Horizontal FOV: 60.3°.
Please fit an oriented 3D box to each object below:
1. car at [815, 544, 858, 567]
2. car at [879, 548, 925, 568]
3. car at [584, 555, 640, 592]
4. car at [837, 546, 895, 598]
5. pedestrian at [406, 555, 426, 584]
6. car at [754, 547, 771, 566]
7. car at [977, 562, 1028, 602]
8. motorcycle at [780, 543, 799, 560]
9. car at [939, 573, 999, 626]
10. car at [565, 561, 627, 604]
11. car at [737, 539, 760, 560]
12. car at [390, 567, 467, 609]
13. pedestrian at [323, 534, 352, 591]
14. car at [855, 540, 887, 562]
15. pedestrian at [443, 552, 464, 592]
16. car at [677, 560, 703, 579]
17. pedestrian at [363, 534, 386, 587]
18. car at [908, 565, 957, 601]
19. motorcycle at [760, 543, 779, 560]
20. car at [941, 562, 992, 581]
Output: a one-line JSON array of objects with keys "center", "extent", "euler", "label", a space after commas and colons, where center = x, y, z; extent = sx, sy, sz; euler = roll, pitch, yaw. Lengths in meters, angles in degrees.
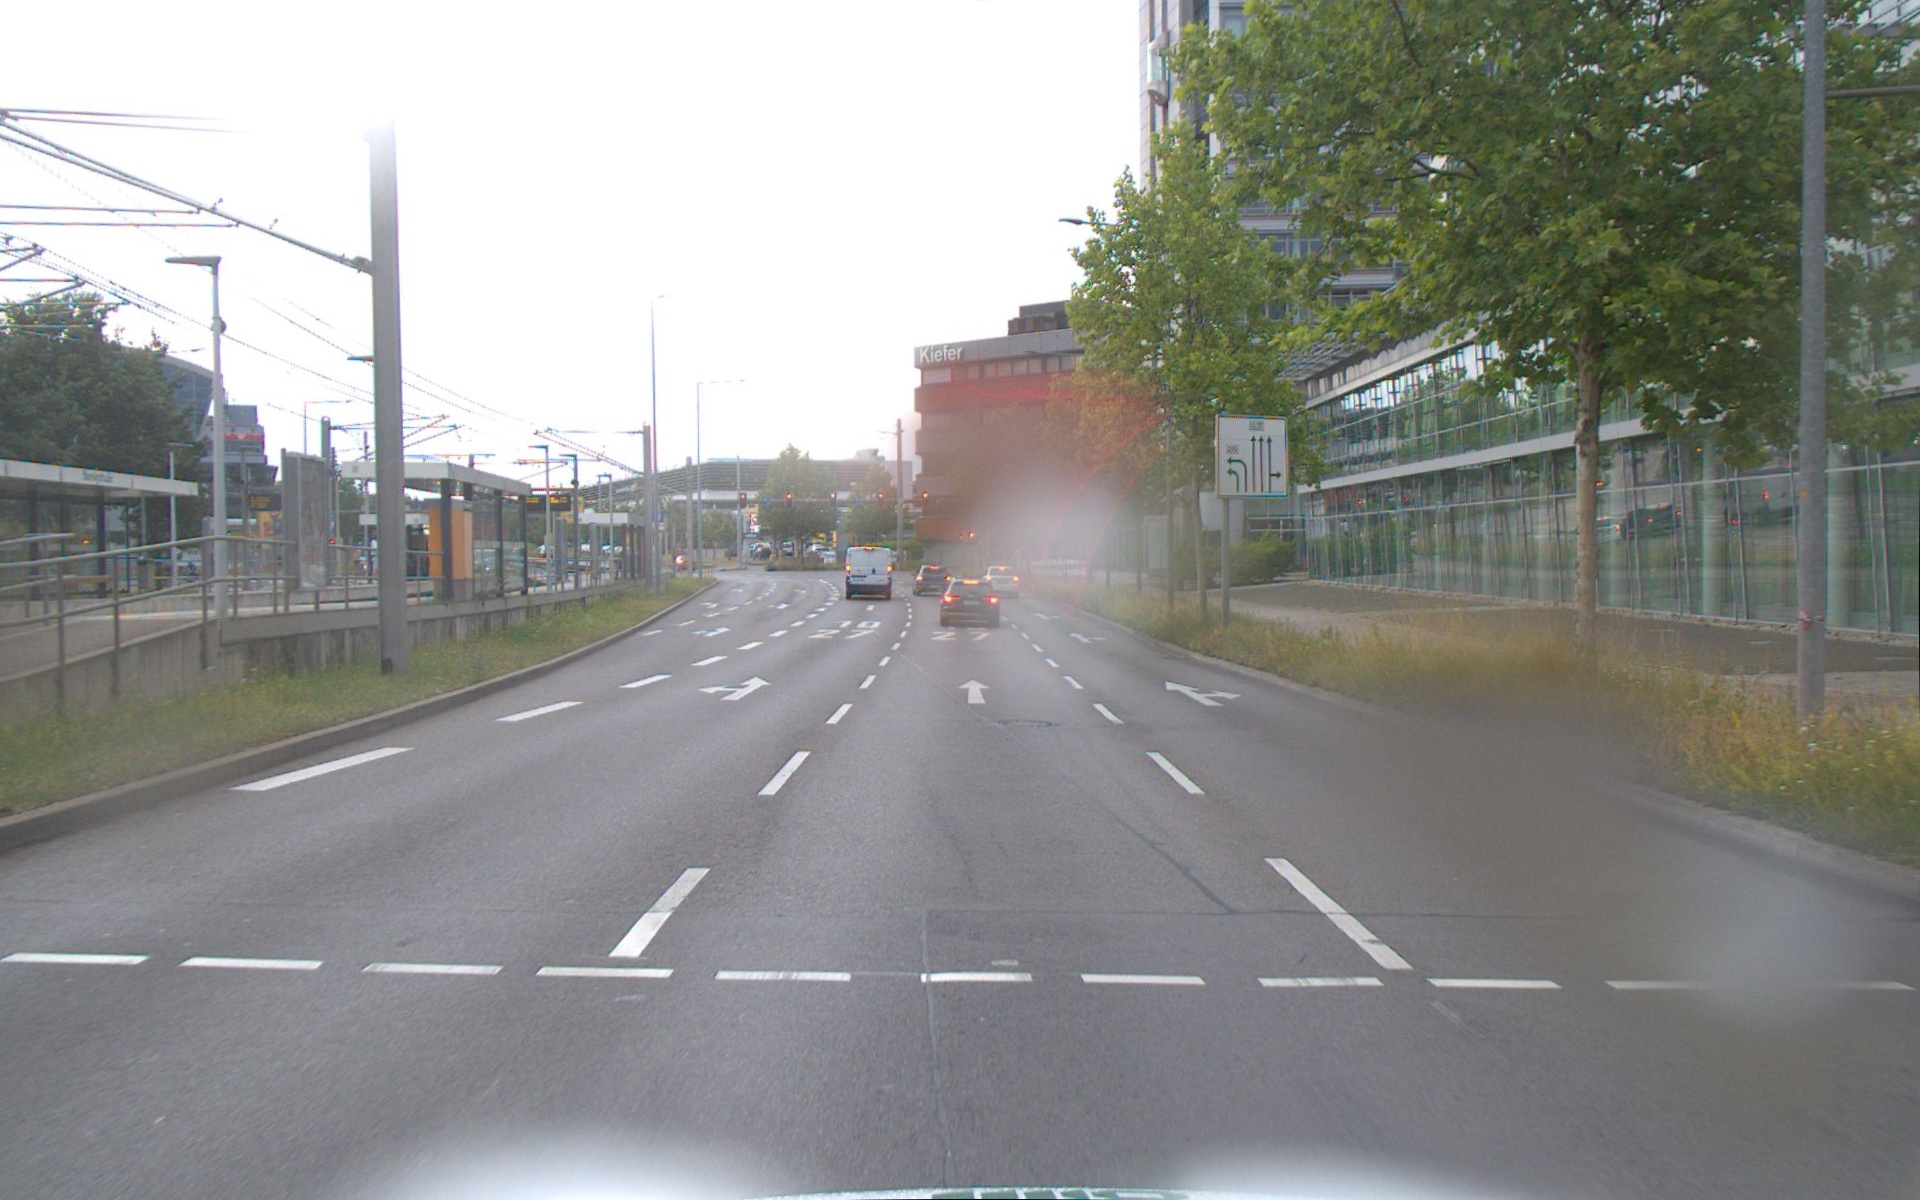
[{"center": [-11.724, -4.215, 156.605], "extent": [3.933, 2.049, 1.986], "euler": [2, 0, 45], "label": "car"}, {"center": [-5.186, -3.739, 147.694], "extent": [3.933, 1.651, 2.013], "euler": [1, 1, 45], "label": "car"}, {"center": [-15.450, -1.154, 73.628], "extent": [1.955, 1.478, 3.843], "euler": [1, -1, -5], "label": "car"}, {"center": [-4.204, -1.240, 73.961], "extent": [2.461, 2.215, 5.146], "euler": [1, 1, -4], "label": "car"}, {"center": [-24.090, -1.360, 73.249], "extent": [0.713, 1.275, 0.730], "euler": [1, -1, -7], "label": "pedestrian"}, {"center": [-23.884, -5.226, 200.072], "extent": [1.785, 2.049, 3.462], "euler": [1, -2, -10], "label": "car"}, {"center": [1.986, -0.882, 79.150], "extent": [1.982, 1.800, 3.997], "euler": [1, 2, -5], "label": "car"}, {"center": [-23.046, -6.515, 223.594], "extent": [1.961, 2.049, 3.983], "euler": [1, -2, -15], "label": "motorcycle"}, {"center": [0.310, -0.047, 50.549], "extent": [1.728, 1.488, 4.628], "euler": [1, 1, 1], "label": "car"}, {"center": [-14.607, -0.736, 66.612], "extent": [1.955, 1.477, 3.845], "euler": [1, 4, -5], "label": "car"}, {"center": [-23.525, -5.543, 183.691], "extent": [1.961, 2.049, 3.982], "euler": [1, -2, -16], "label": "car"}, {"center": [-18.331, -0.433, 57.145], "extent": [1.823, 1.359, 3.331], "euler": [1, 2, -5], "label": "car"}, {"center": [-23.193, -1.376, 61.659], "extent": [0.840, 2.049, 1.037], "euler": [1, -2, -15], "label": "pedestrian"}, {"center": [-9.721, -5.330, 179.863], "extent": [1.972, 2.049, 3.960], "euler": [1, -2, -30], "label": "car"}, {"center": [-23.458, -1.292, 76.644], "extent": [0.737, 1.782, 0.763], "euler": [1, -2, -5], "label": "pedestrian"}, {"center": [-24.868, -2.789, 152.232], "extent": [1.987, 1.651, 3.985], "euler": [1, 0, -14], "label": "car"}, {"center": [-23.511, -1.570, 66.453], "extent": [0.674, 2.116, 0.714], "euler": [0, 1, 0], "label": "pedestrian"}, {"center": [-1.377, -0.826, 80.330], "extent": [1.982, 1.651, 3.994], "euler": [1, 0, -7], "label": "car"}, {"center": [-25.658, -6.564, 222.753], "extent": [1.961, 2.049, 3.983], "euler": [1, -2, -15], "label": "motorcycle"}, {"center": [0.544, -2.485, 143.354], "extent": [4.253, 1.651, 2.013], "euler": [1, 1, 45], "label": "car"}]
